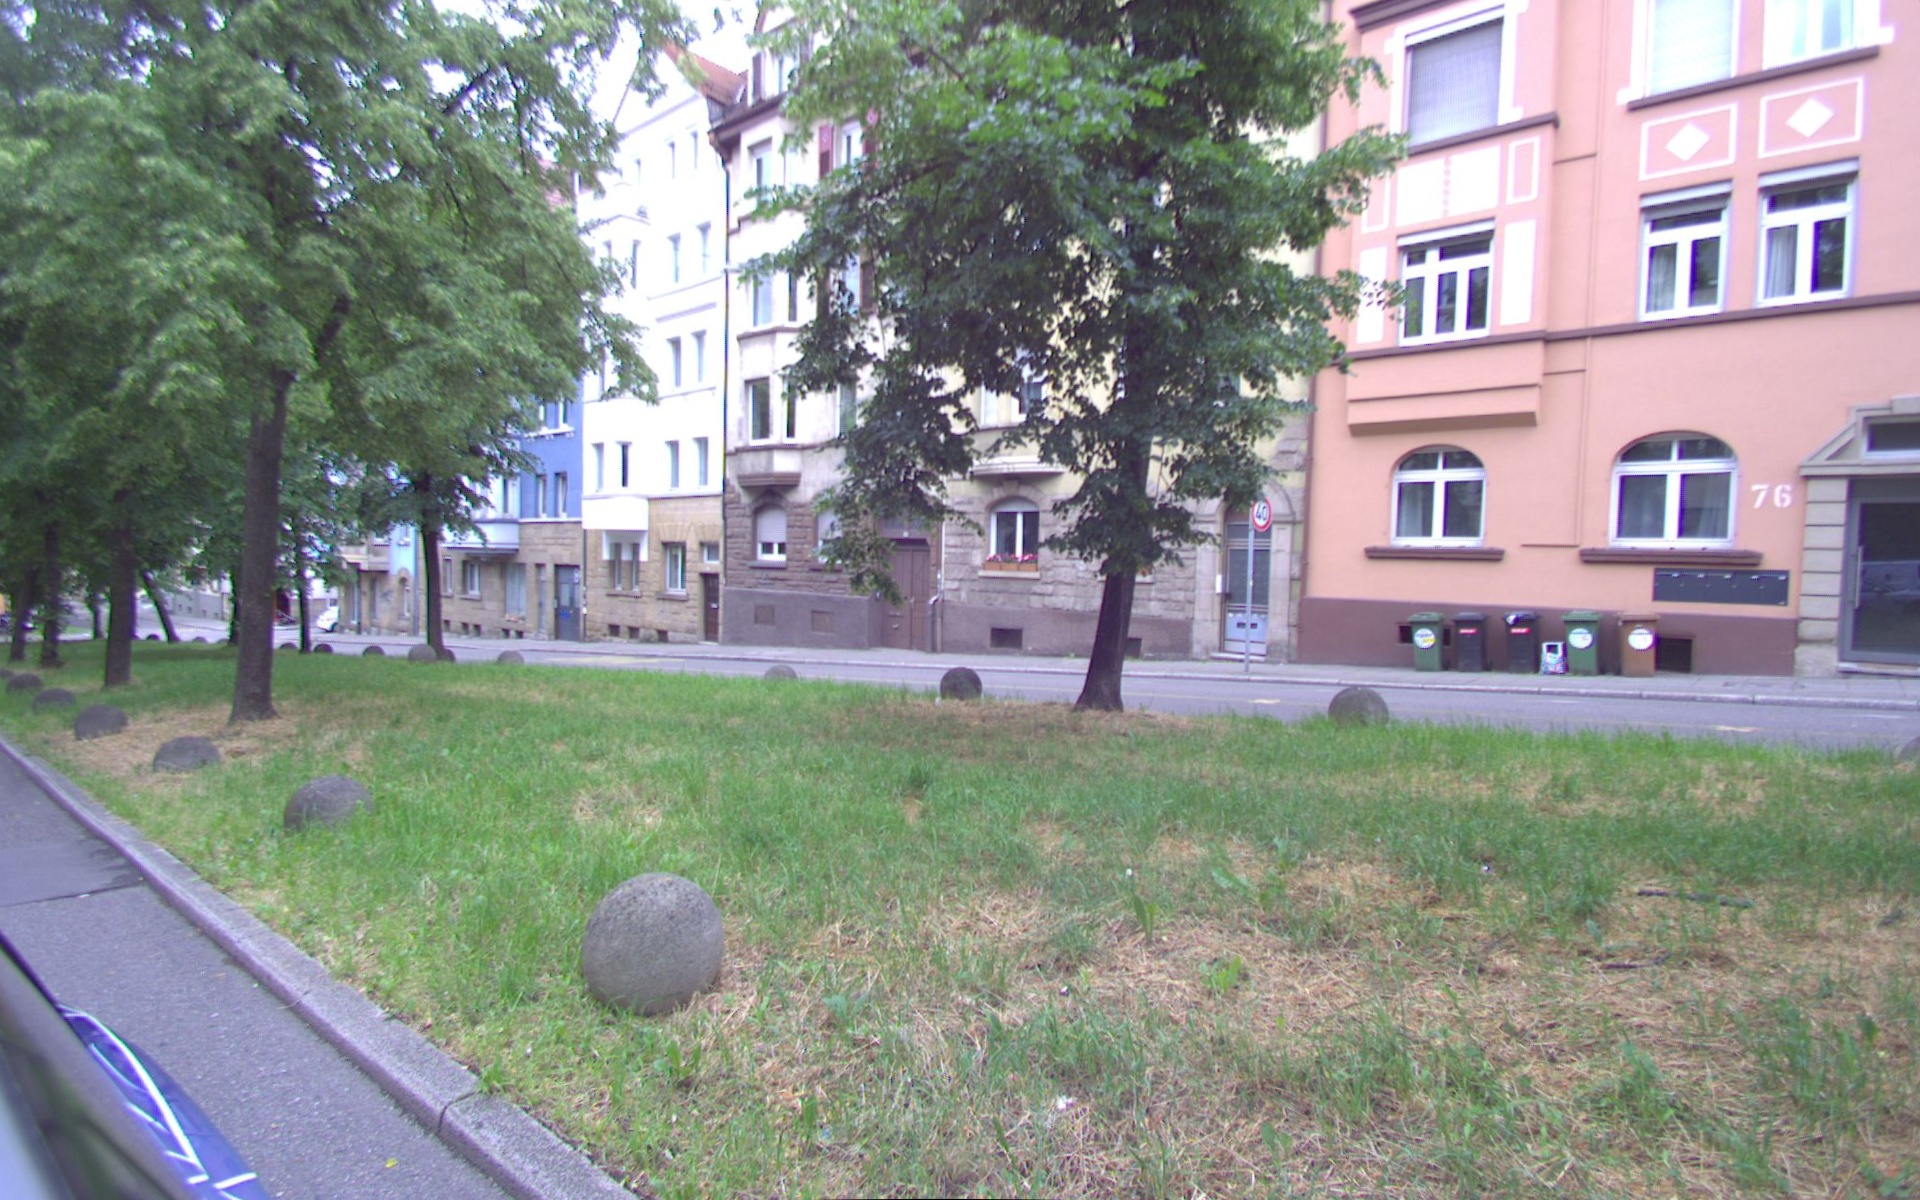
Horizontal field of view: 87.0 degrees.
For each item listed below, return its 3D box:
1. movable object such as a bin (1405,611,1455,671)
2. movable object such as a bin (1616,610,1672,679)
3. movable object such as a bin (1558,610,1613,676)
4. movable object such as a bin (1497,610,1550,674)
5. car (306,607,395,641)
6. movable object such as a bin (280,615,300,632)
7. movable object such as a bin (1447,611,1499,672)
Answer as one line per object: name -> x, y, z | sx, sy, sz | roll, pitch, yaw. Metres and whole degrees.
movable object such as a bin -> 7.537, 0.645, 16.223 | 0.601, 0.911, 0.603 | -1, 1, 38
movable object such as a bin -> 9.655, 0.616, 14.288 | 0.601, 0.911, 0.603 | -1, 1, 38
movable object such as a bin -> 9.136, 0.618, 14.783 | 0.601, 0.911, 0.603 | -1, 1, 38
movable object such as a bin -> 8.547, 0.629, 15.343 | 0.601, 0.911, 0.603 | -1, 1, 38
car -> -35.390, 1.375, 58.846 | 1.870, 1.480, 3.959 | 2, 7, 39
movable object such as a bin -> -41.582, 1.434, 62.793 | 0.668, 1.001, 0.876 | 0, 3, 40
movable object such as a bin -> 8.015, 0.639, 15.805 | 0.601, 0.911, 0.603 | -1, 1, 38
